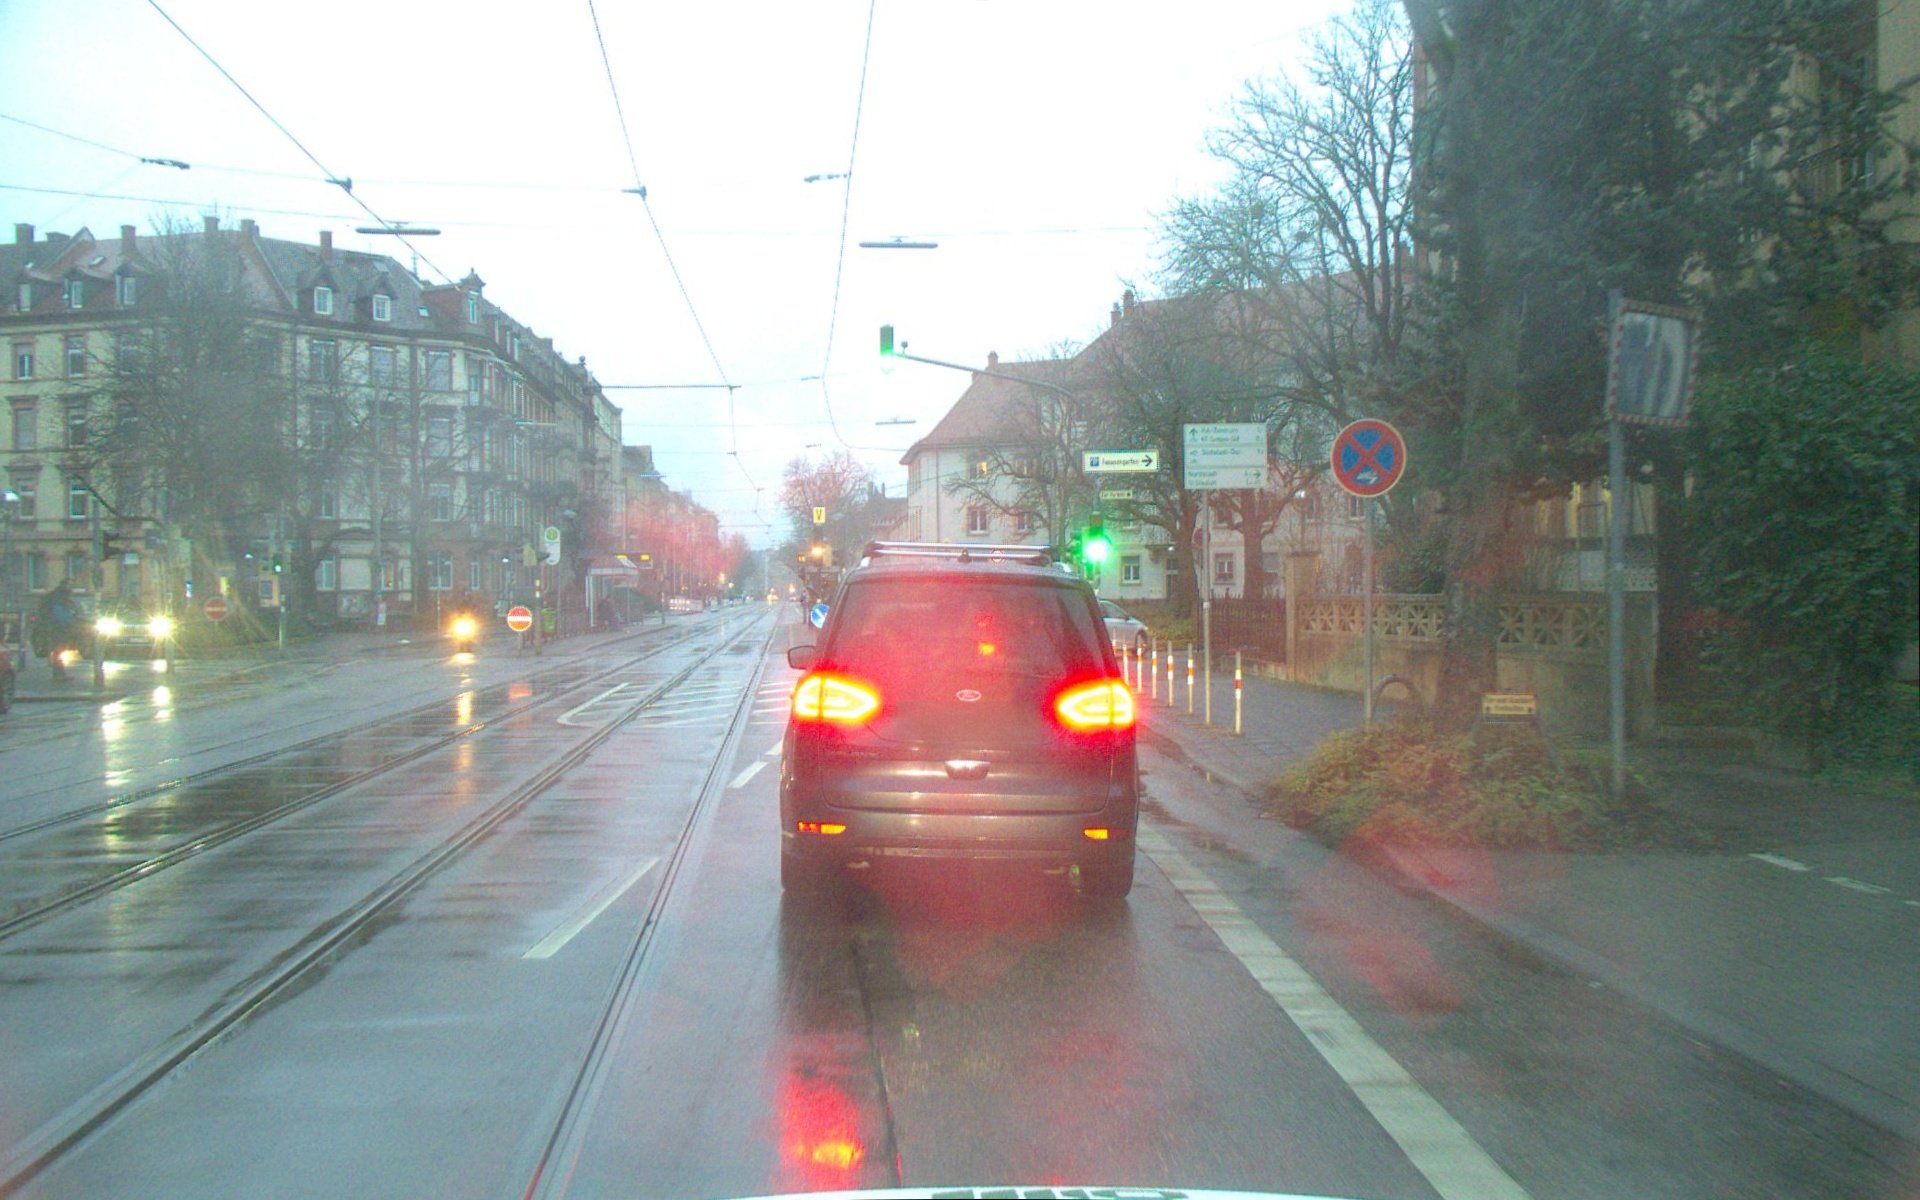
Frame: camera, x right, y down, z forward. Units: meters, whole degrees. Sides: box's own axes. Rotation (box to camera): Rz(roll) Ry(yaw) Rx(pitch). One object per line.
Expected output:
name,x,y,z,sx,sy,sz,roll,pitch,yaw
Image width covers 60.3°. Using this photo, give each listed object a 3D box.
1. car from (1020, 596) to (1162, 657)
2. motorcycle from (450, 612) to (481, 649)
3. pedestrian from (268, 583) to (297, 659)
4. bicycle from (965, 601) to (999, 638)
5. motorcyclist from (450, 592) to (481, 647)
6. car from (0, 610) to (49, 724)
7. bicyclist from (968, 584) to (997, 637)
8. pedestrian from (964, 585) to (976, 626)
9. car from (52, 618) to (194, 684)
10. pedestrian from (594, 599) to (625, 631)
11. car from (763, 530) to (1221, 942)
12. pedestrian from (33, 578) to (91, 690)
car,3.294,0.621,41.065,1.637,1.400,3.983,-1,0,37
motorcycle,-14.475,0.884,48.438,0.842,1.009,1.911,-1,0,-16
pedestrian,-18.552,0.568,45.313,0.695,2.049,0.655,-1,0,-25
bicycle,0.718,0.628,54.293,0.704,1.131,1.937,3,0,-10
motorcyclist,-14.502,0.561,48.528,0.830,1.575,1.011,0,0,-16
car,-14.723,0.955,23.353,2.001,1.579,4.021,3,0,-11
bicyclist,0.739,0.340,54.232,0.704,1.691,1.054,3,0,-10
pedestrian,0.505,0.265,82.719,0.584,2.049,0.631,0,-1,-2
car,-23.256,1.374,45.921,3.921,1.702,2.014,0,0,37
pedestrian,-13.488,0.584,63.678,1.027,1.221,0.884,0,-1,-5
car,0.021,0.621,9.860,2.062,1.848,4.657,1,0,-3
pedestrian,-16.687,0.629,30.743,0.742,2.049,0.646,0,-1,31
